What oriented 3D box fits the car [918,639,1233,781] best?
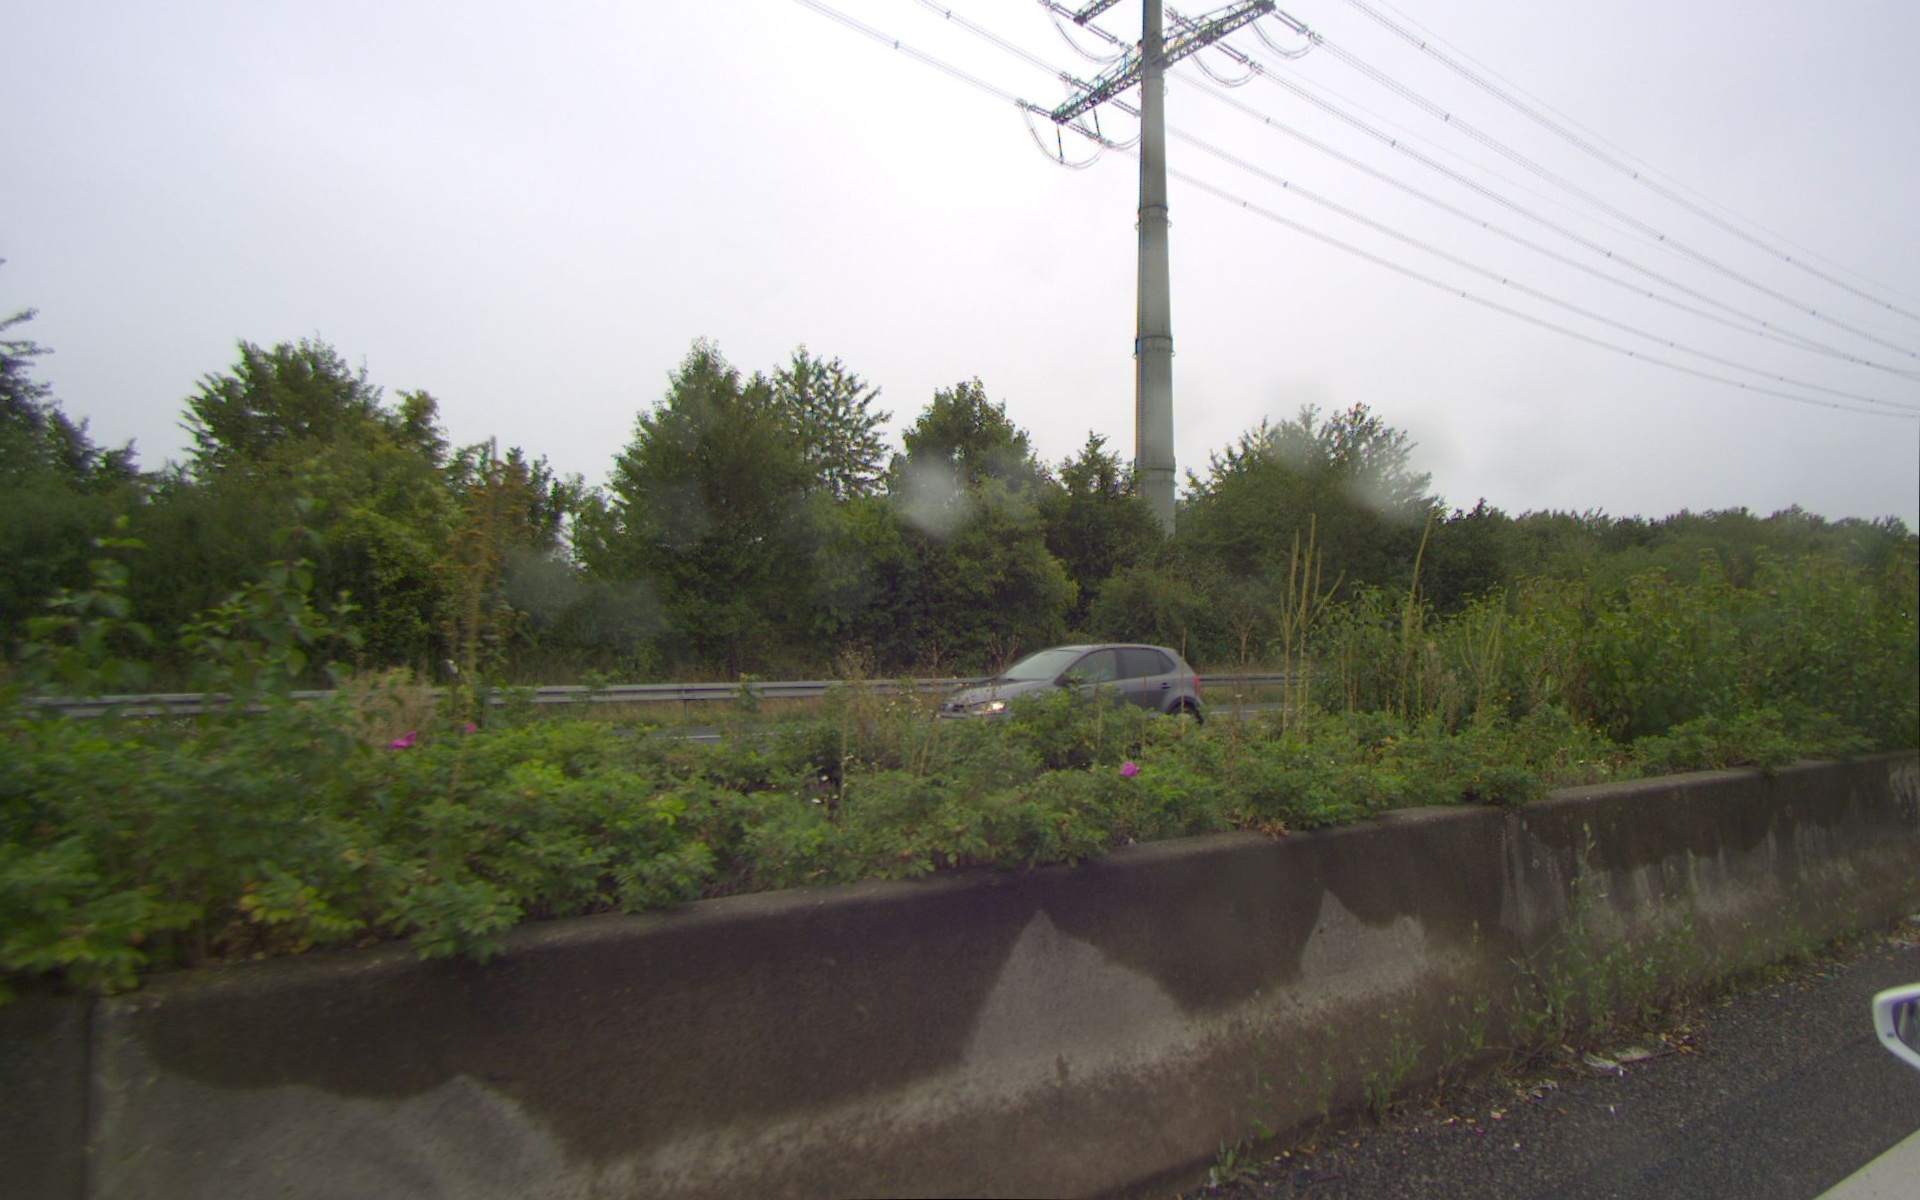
[{"bbox_3d":[1.586,1.373,13.449,3.953,1.584,1.681,2,0,-30],"label":"car"}]

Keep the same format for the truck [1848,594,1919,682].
[{"bbox_3d":[38.451,1.560,40.118,6.969,3.269,2.251,2,-4,-30],"label":"truck"}]
